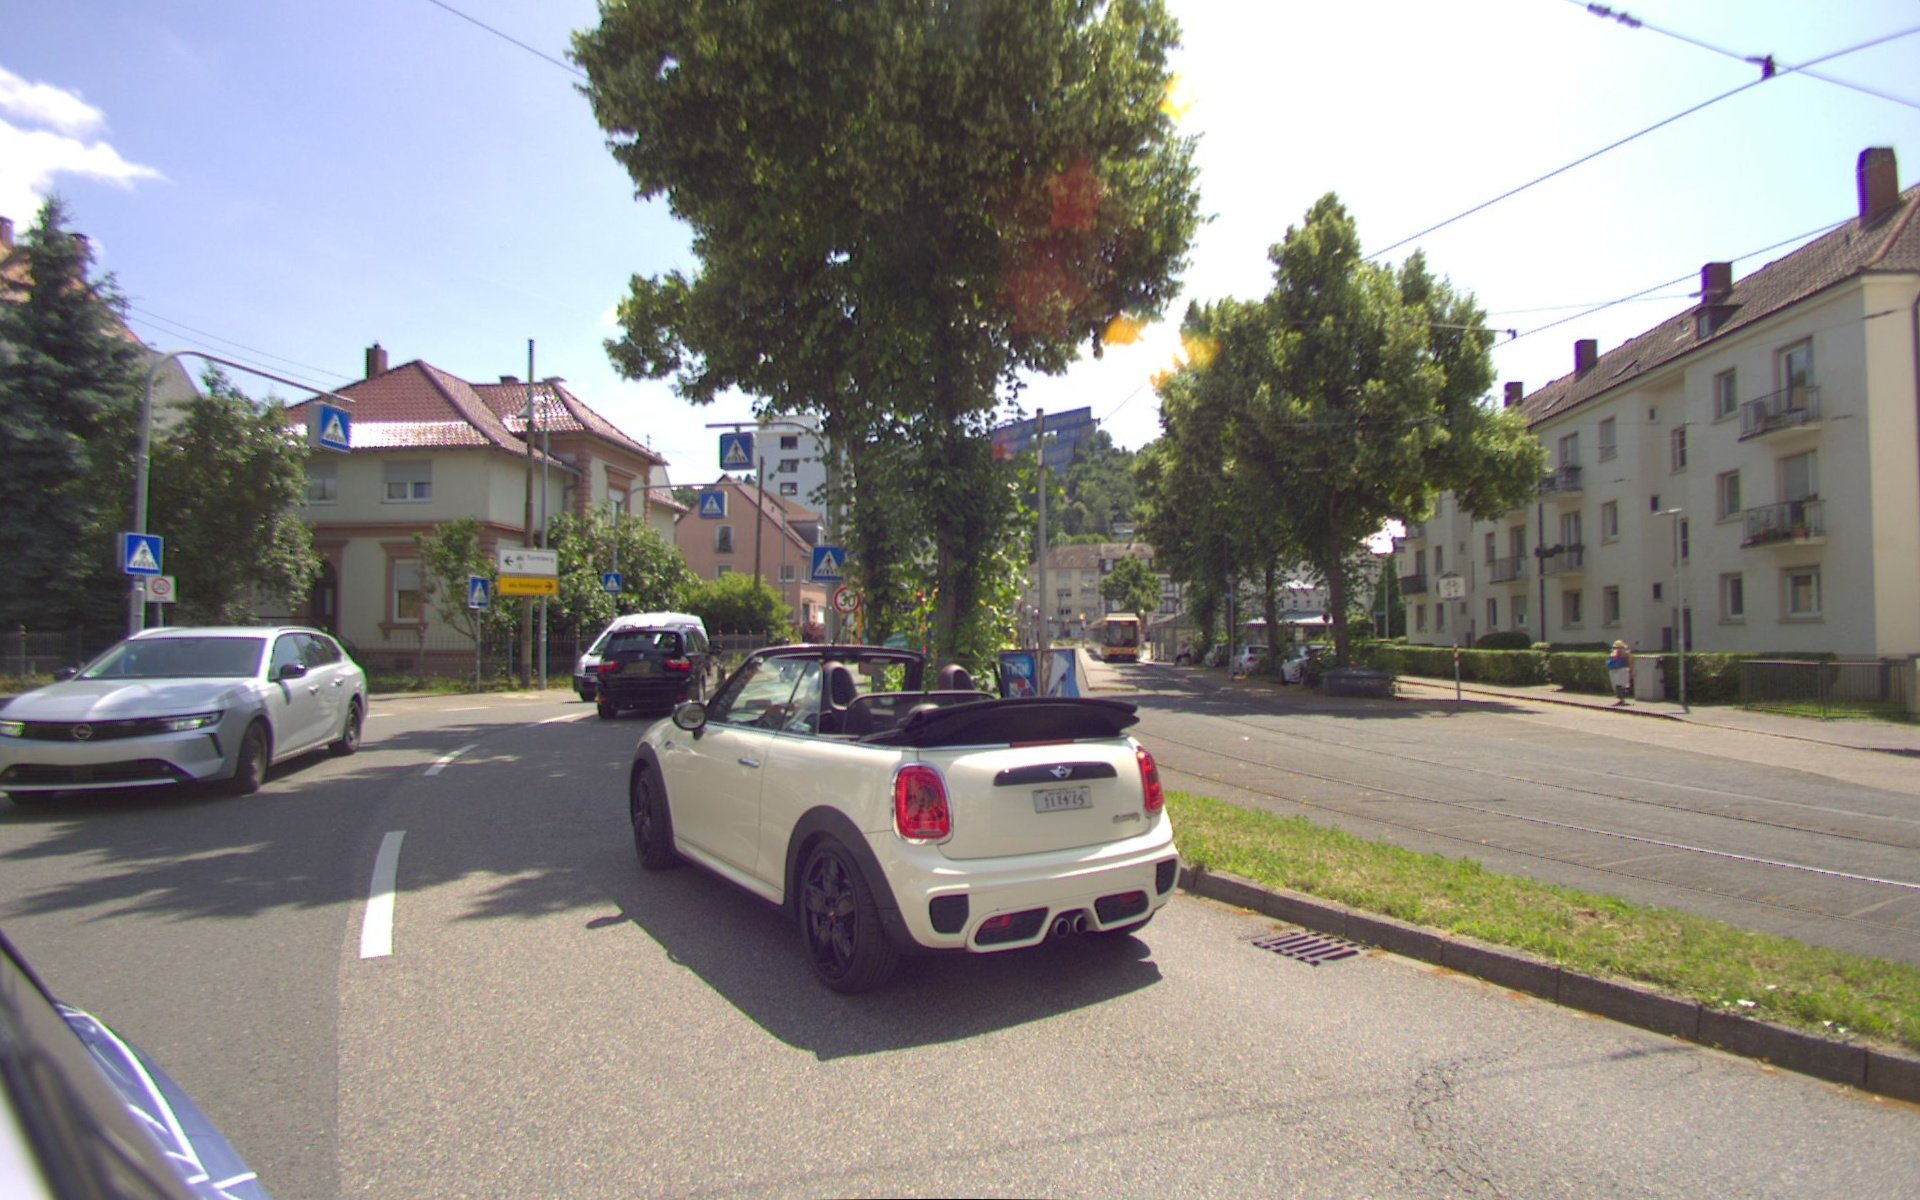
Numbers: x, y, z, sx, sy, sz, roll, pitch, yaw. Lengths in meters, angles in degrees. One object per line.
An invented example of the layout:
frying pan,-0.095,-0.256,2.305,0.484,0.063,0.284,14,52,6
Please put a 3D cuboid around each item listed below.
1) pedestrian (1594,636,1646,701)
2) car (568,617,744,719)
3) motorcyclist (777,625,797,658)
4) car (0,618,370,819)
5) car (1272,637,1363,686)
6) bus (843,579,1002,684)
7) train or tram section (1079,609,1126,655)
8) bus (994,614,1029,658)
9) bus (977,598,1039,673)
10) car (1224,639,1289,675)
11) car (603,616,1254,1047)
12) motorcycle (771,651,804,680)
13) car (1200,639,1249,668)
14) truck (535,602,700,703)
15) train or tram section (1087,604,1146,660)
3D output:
pedestrian,16.365,1.685,25.105,0.767,1.572,0.743,-1,-2,4
car,-5.457,1.229,18.788,1.837,1.644,4.325,1,-3,2
motorcyclist,-6.473,1.557,37.937,0.536,1.252,0.552,-1,-2,16
car,-7.238,0.932,9.653,1.772,1.477,4.183,0,-1,-15
car,11.637,1.978,33.219,1.821,1.494,3.950,0,-2,4
bus,-1.017,1.265,37.740,2.684,3.322,10.800,-2,-3,16
train or tram section,11.907,2.680,85.912,2.861,3.547,13.884,-1,-2,4
bus,4.102,2.862,79.250,2.543,3.213,10.141,0,-2,4
bus,2.821,1.991,55.713,2.664,3.635,12.183,0,-2,6
car,12.803,2.424,43.890,1.821,1.494,4.252,0,-2,4
car,-0.491,0.855,5.530,1.750,1.475,3.756,2,-2,-36
motorcycle,-6.465,2.444,37.911,0.663,1.066,1.428,-1,-2,17
car,13.874,2.783,53.260,1.821,1.494,3.867,0,-2,4
truck,-8.574,1.330,25.970,1.996,2.266,5.398,-2,-3,5
train or tram section,10.947,2.273,72.033,2.861,3.547,13.884,-1,-2,4
